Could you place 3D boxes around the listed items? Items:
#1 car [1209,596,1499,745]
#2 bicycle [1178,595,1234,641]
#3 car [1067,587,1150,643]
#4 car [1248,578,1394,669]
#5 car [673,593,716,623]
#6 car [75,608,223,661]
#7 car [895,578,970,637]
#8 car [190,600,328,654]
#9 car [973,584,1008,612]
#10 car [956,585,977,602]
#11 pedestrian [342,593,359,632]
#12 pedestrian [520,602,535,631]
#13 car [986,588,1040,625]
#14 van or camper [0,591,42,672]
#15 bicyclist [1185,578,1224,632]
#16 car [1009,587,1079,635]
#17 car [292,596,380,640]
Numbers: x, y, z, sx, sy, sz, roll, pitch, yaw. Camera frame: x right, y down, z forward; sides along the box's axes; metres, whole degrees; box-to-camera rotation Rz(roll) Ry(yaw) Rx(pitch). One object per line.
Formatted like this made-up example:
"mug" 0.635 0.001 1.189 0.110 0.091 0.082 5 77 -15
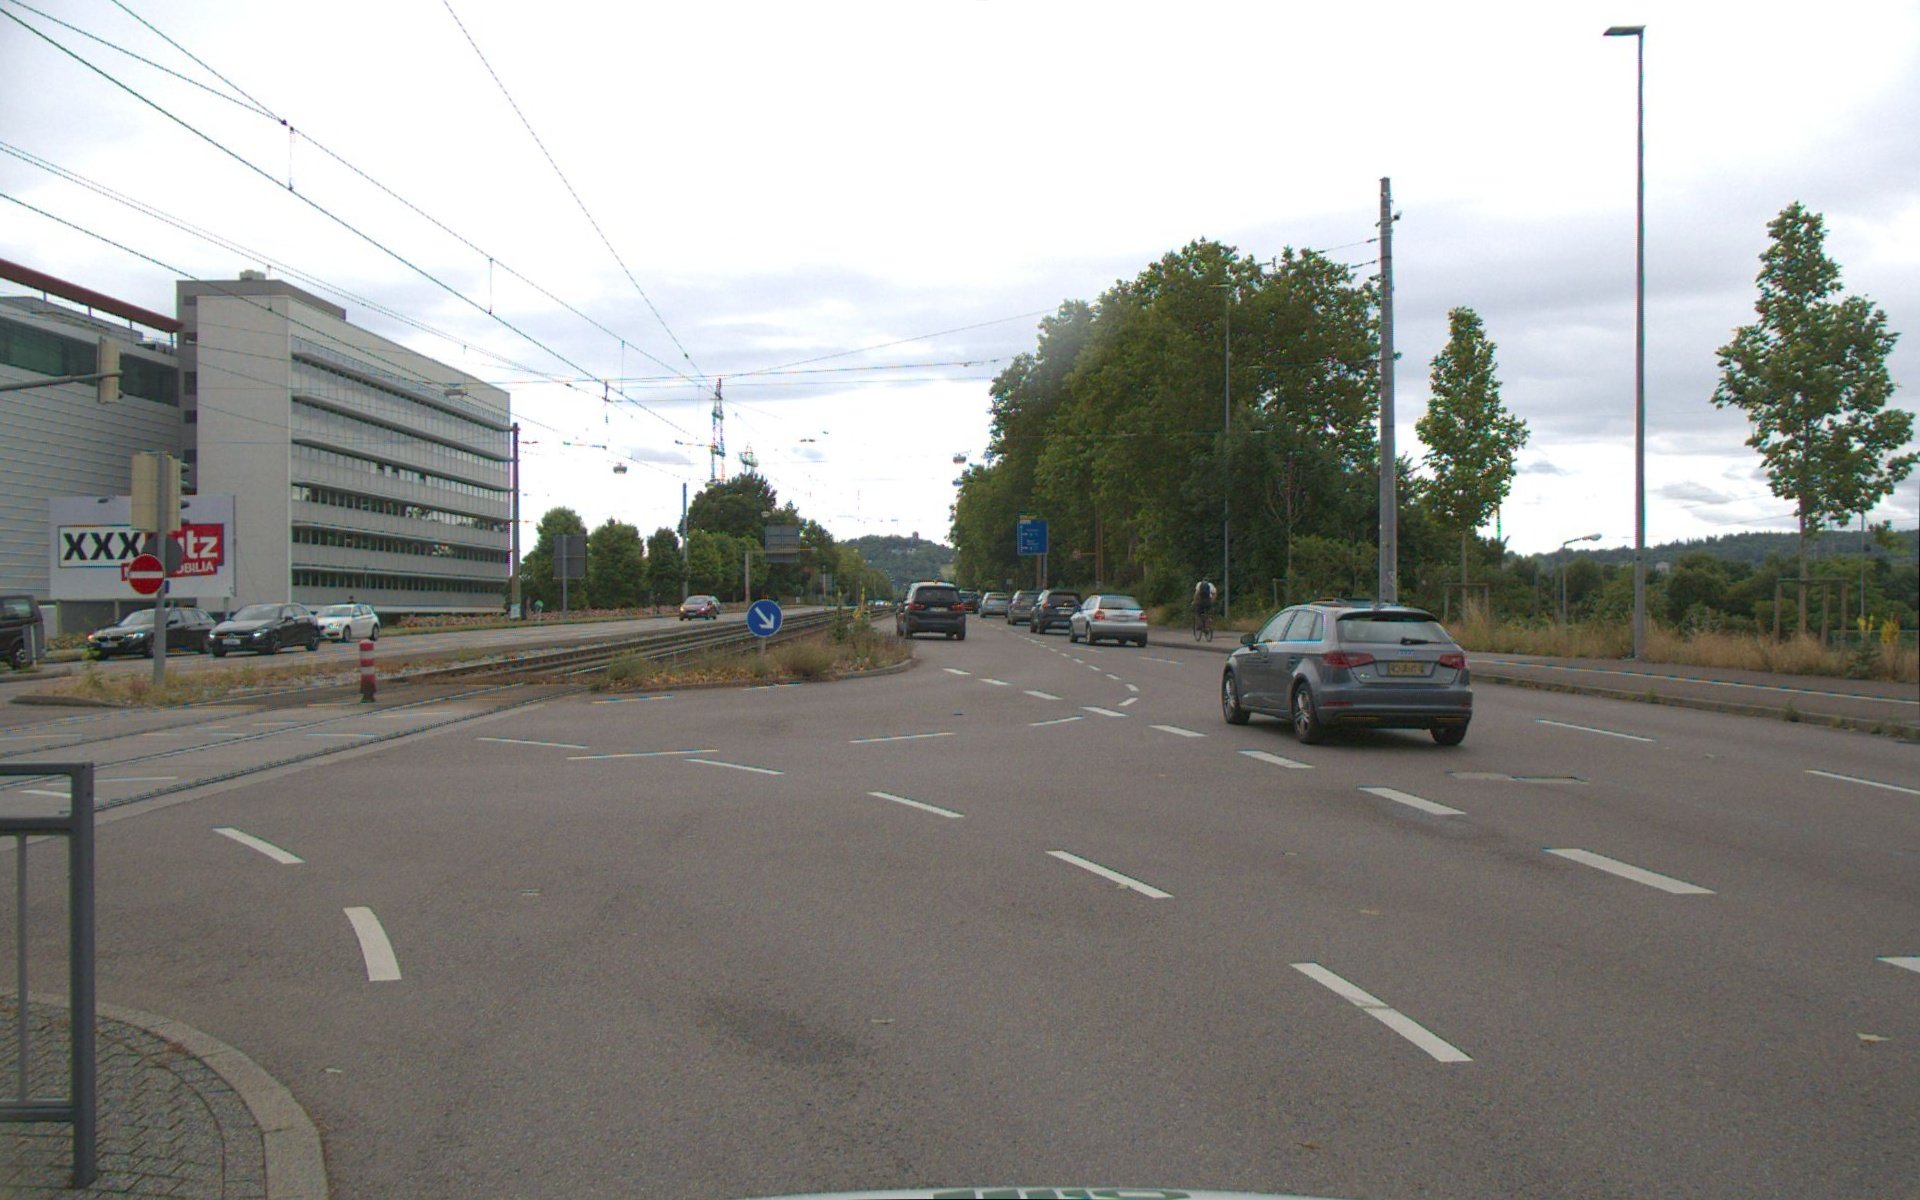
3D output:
"car" 4.151 0.681 18.123 1.705 1.426 4.069 0 0 -9
"bicycle" 7.052 0.492 47.572 0.802 1.205 2.516 -2 1 -10
"car" 4.237 0.398 47.613 1.695 1.535 3.628 1 0 -6
"car" 6.462 0.426 30.053 1.699 1.505 4.318 1 -1 0
"car" -16.157 0.483 100.811 1.952 1.758 4.000 0 0 1
"car" -24.123 0.985 49.386 1.921 1.489 4.325 0 0 7
"car" -0.845 0.203 48.597 1.797 1.665 4.311 0 0 -7
"car" -20.128 0.740 47.681 1.792 1.489 4.211 0 0 7
"car" 1.752 -0.098 95.518 1.779 1.506 3.670 1 -1 -2
"car" 0.614 -0.589 154.923 1.779 1.506 3.670 1 -1 -2
"pedestrian" -29.058 0.598 78.849 0.687 1.822 0.637 1 -1 -25
"pedestrian" -25.808 0.984 98.686 0.534 1.683 0.612 0 -1 37
"car" 2.420 0.296 76.419 1.821 1.589 4.310 2 -1 -7
"van or camper" -25.970 0.903 41.680 2.072 2.048 4.757 -3 1 17
"bicyclist" 7.013 0.122 47.517 0.802 1.504 0.998 -2 1 -11
"car" 2.961 0.381 59.066 1.821 1.589 4.312 2 -1 -6
"car" -23.429 0.651 62.261 1.692 1.566 4.047 0 0 1
